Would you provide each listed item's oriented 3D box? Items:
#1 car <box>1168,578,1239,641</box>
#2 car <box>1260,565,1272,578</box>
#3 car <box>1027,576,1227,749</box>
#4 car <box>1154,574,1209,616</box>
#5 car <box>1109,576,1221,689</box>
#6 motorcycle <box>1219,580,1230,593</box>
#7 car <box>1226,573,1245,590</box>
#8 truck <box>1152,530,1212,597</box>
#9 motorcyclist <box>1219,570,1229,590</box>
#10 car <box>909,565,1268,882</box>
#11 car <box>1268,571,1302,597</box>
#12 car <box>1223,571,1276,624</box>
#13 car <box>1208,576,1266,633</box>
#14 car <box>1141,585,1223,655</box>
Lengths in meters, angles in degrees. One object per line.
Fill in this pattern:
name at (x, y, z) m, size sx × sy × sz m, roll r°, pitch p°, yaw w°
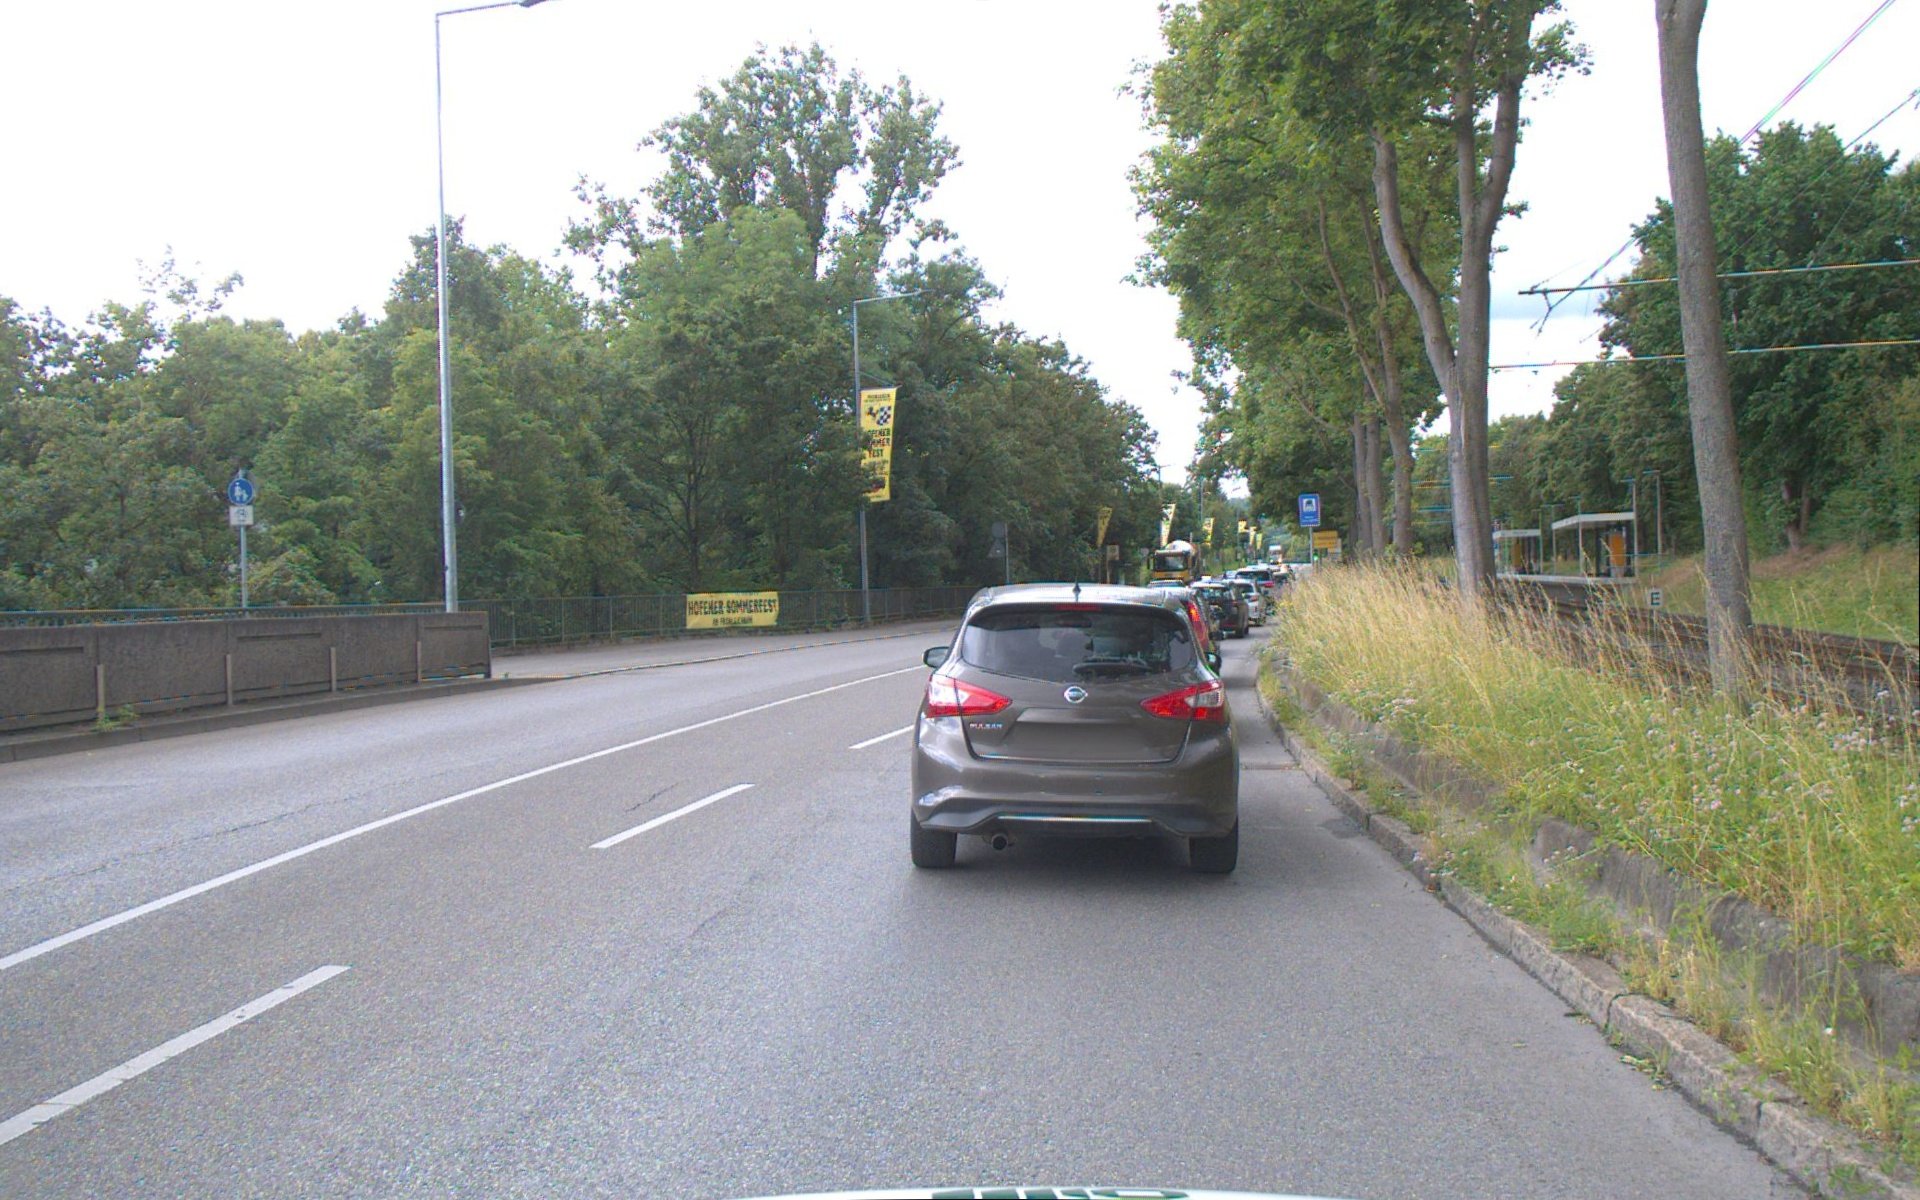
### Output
car at (6.445, 0.243, 43.735) m, size 1.766 × 1.567 × 4.003 m, roll 1°, pitch 0°, yaw 9°
car at (43.281, -3.999, 233.892) m, size 1.681 × 1.723 × 3.728 m, roll -2°, pitch -2°, yaw 11°
car at (1.742, 0.606, 17.452) m, size 1.853 × 1.601 × 4.002 m, roll 0°, pitch -1°, yaw 5°
car at (8.615, -0.171, 64.022) m, size 1.812 × 1.512 × 4.424 m, roll -1°, pitch -1°, yaw 11°
car at (3.214, 0.470, 25.547) m, size 1.544 × 1.565 × 4.003 m, roll -2°, pitch 0°, yaw 8°
motorcycle at (21.642, -1.141, 135.504) m, size 0.729 × 1.051 × 1.890 m, roll 0°, pitch 1°, yaw 14°
car at (27.239, -1.821, 163.227) m, size 1.684 × 1.467 × 4.003 m, roll -2°, pitch -1°, yaw 11°
truck at (14.080, -2.235, 104.150) m, size 2.598 × 4.007 × 10.119 m, roll 0°, pitch 0°, yaw 14°
motorcyclist at (21.649, -1.634, 135.564) m, size 0.729 × 1.566 × 0.791 m, roll 0°, pitch 0°, yaw 14°
car at (0.761, 0.614, 10.056) m, size 1.737 × 1.520 × 4.002 m, roll 0°, pitch -1°, yaw 4°
car at (18.911, -0.922, 96.157) m, size 1.850 × 1.470 × 3.810 m, roll -1°, pitch 0°, yaw 13°
car at (11.711, -0.101, 66.745) m, size 1.850 × 2.049 × 4.004 m, roll -1°, pitch 0°, yaw 13°
car at (9.047, 0.181, 53.892) m, size 1.681 × 1.723 × 4.003 m, roll -2°, pitch -2°, yaw 11°
car at (4.821, 0.402, 35.637) m, size 1.468 × 1.388 × 3.590 m, roll -2°, pitch 0°, yaw 12°
